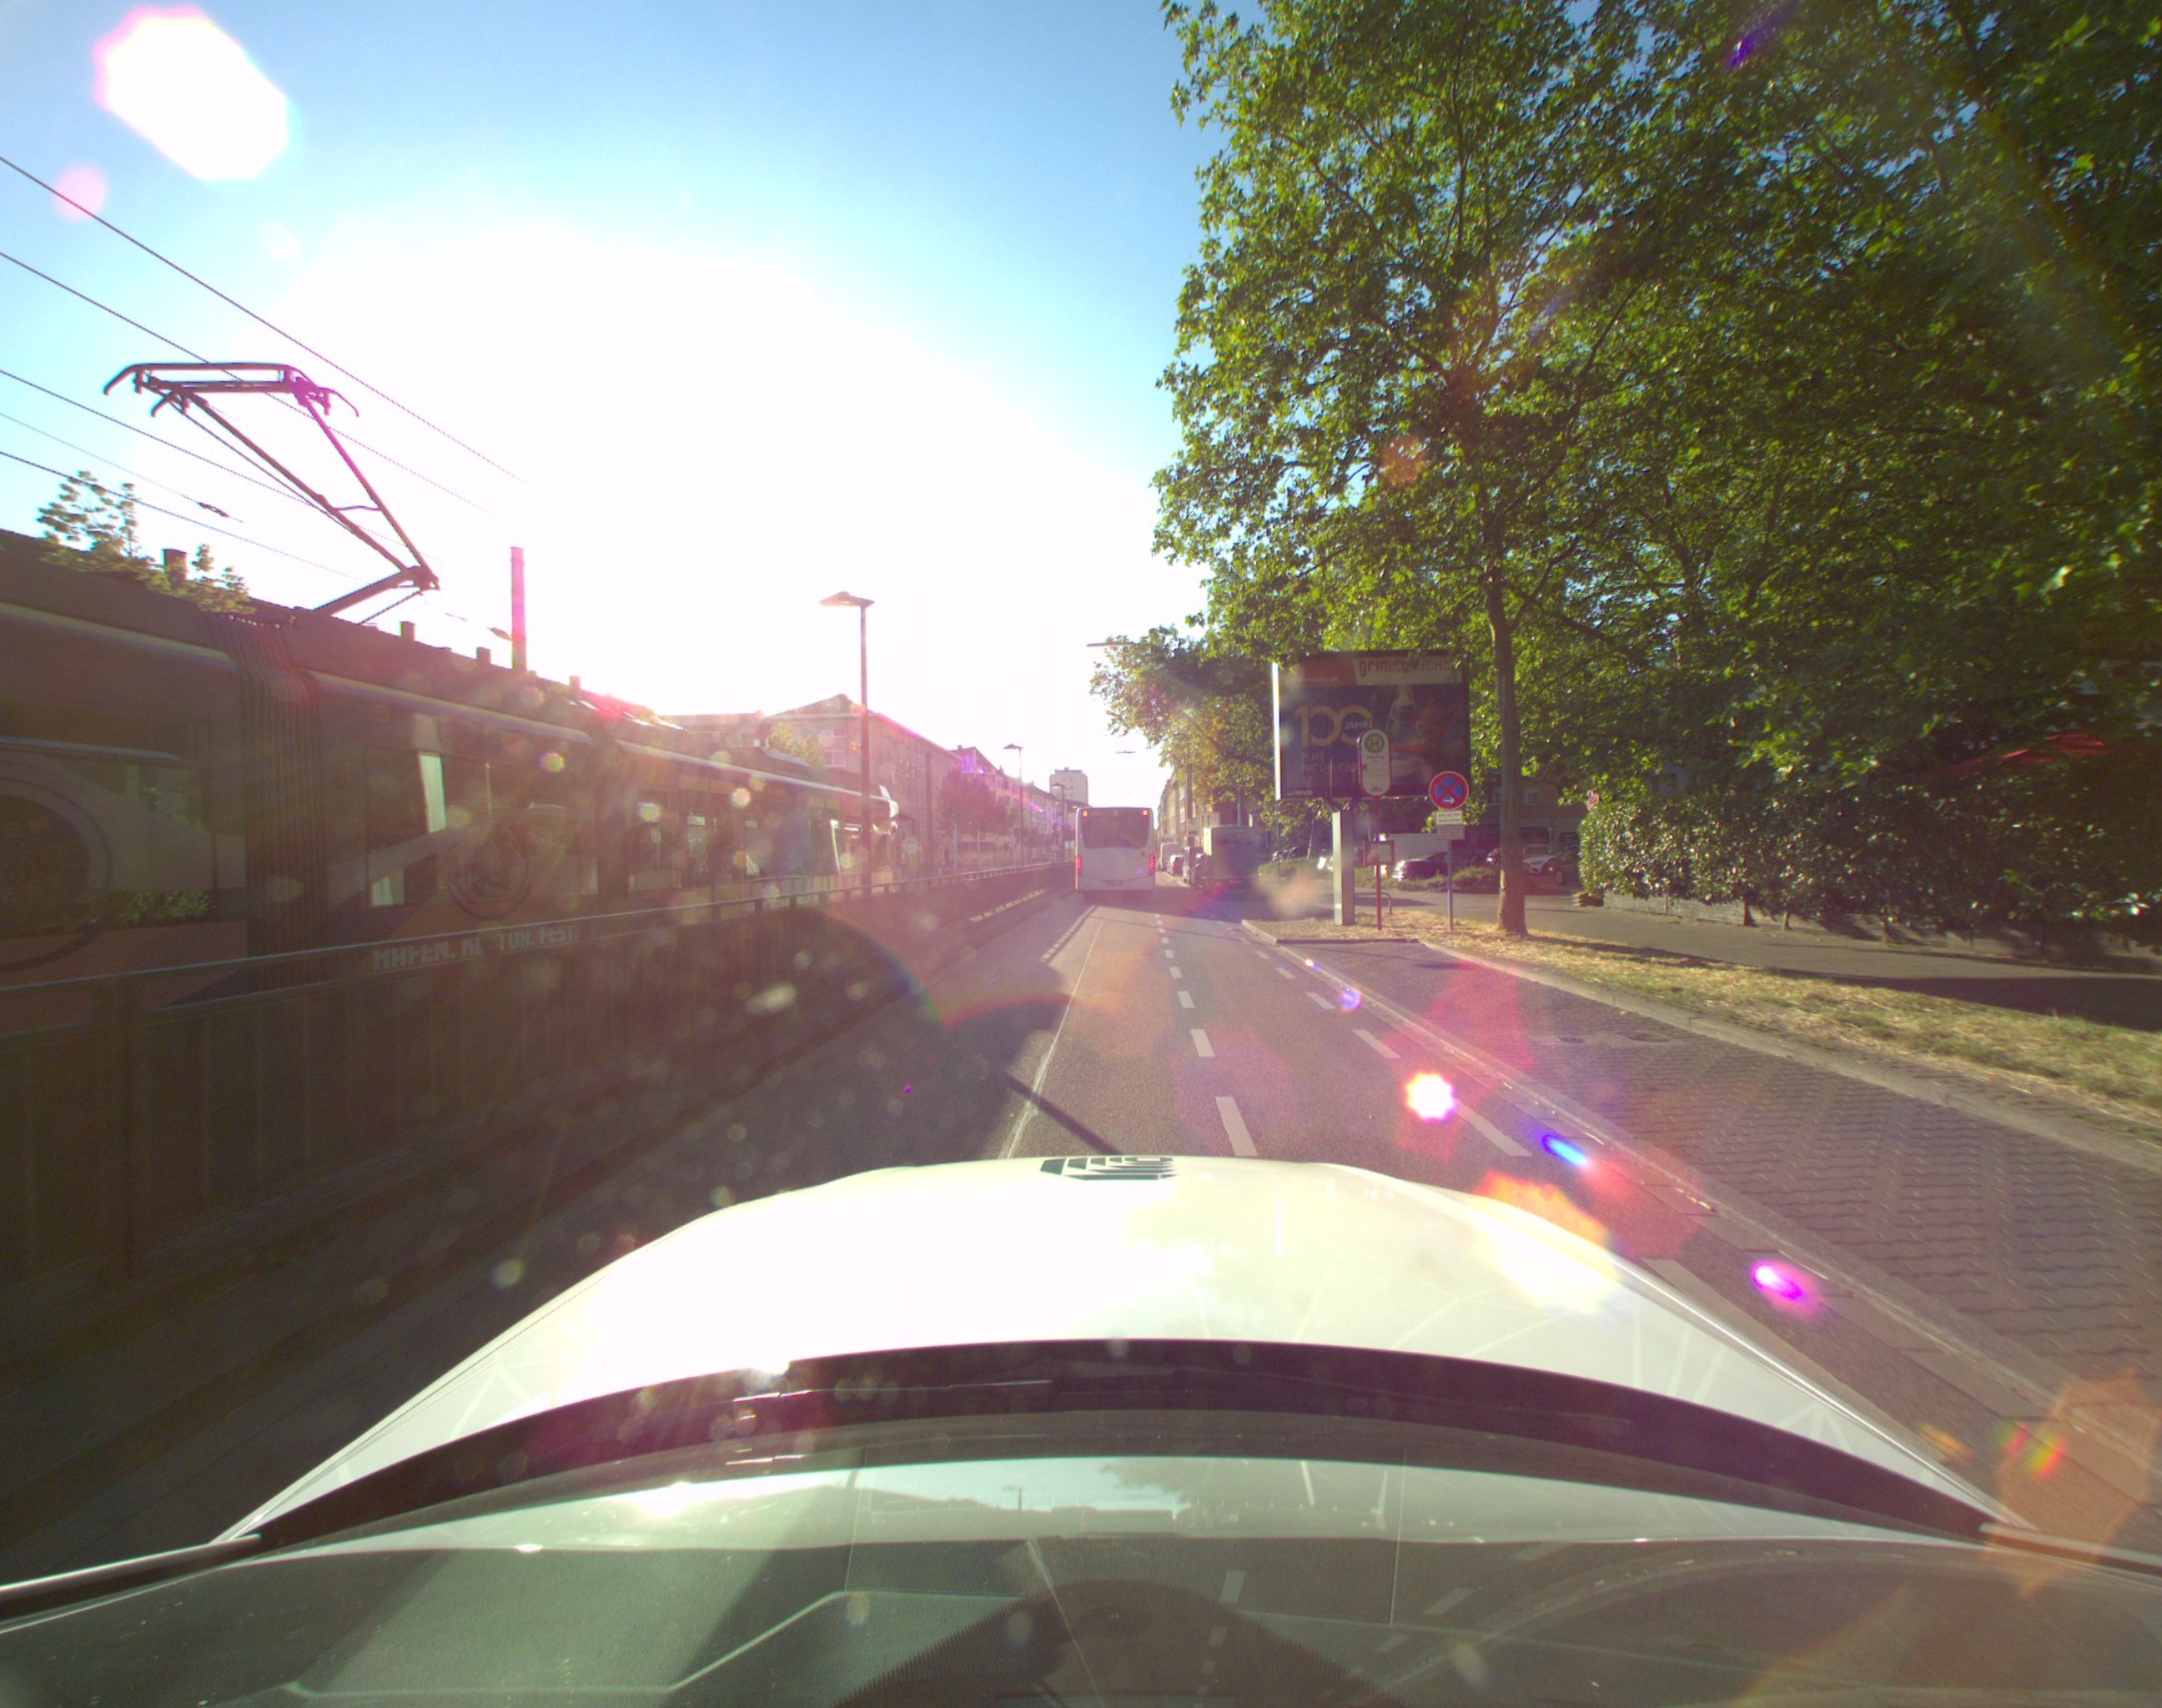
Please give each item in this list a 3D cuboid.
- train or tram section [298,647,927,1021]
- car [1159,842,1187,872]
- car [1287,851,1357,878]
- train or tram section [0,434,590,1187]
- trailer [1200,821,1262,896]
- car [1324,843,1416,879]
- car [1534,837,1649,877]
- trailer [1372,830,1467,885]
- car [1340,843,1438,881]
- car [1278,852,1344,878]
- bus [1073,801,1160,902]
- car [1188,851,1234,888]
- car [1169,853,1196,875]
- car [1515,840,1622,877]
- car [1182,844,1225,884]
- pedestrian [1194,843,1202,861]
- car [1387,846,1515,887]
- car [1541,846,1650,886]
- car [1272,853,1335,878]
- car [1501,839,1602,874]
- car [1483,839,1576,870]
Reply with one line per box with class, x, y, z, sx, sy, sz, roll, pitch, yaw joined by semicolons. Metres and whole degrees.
train or tram section;-5.787;-0.180;14.476;2.629;3.519;13.347;-1;0;4
car;8.433;0.254;75.122;2.272;2.627;5.314;-2;0;4
car;15.200;0.652;51.459;3.903;1.588;1.708;-2;-1;3
train or tram section;-6.598;-0.183;1.609;2.717;3.549;12.798;-1;0;4
trailer;5.472;0.166;30.110;1.824;2.557;3.322;-2;0;4
car;14.184;0.343;40.098;3.903;1.637;1.708;-2;-1;3
car;24.619;0.154;39.384;4.259;1.642;1.874;-3;-1;3
trailer;13.429;0.148;32.481;3.050;2.069;1.881;-1;0;4
car;14.201;0.371;37.729;3.903;1.636;1.708;-2;-1;3
car;15.157;0.727;53.806;3.903;1.588;1.708;-2;-1;3
bus;1.488;-0.068;30.790;2.721;3.139;10.715;0;0;4
car;5.869;0.681;37.225;1.693;1.588;3.831;-2;0;4
car;7.322;0.706;59.218;1.664;1.463;3.937;-3;-1;4
car;24.915;0.220;41.718;4.259;1.642;1.874;-3;-1;3
car;6.424;0.495;43.235;1.839;1.956;4.548;-2;0;4
pedestrian;12.678;-0.231;88.296;0.682;1.947;1.117;-1;0;4
car;13.458;0.449;29.783;3.902;1.336;1.708;-2;-1;4
car;19.851;0.435;31.623;1.782;1.437;4.244;-1;0;4
car;15.327;0.801;56.235;3.903;1.588;1.708;-2;-1;3
car;25.421;0.126;44.108;4.259;1.642;1.874;-3;-1;3
car;25.528;0.016;46.503;4.259;1.642;1.874;-1;0;3
